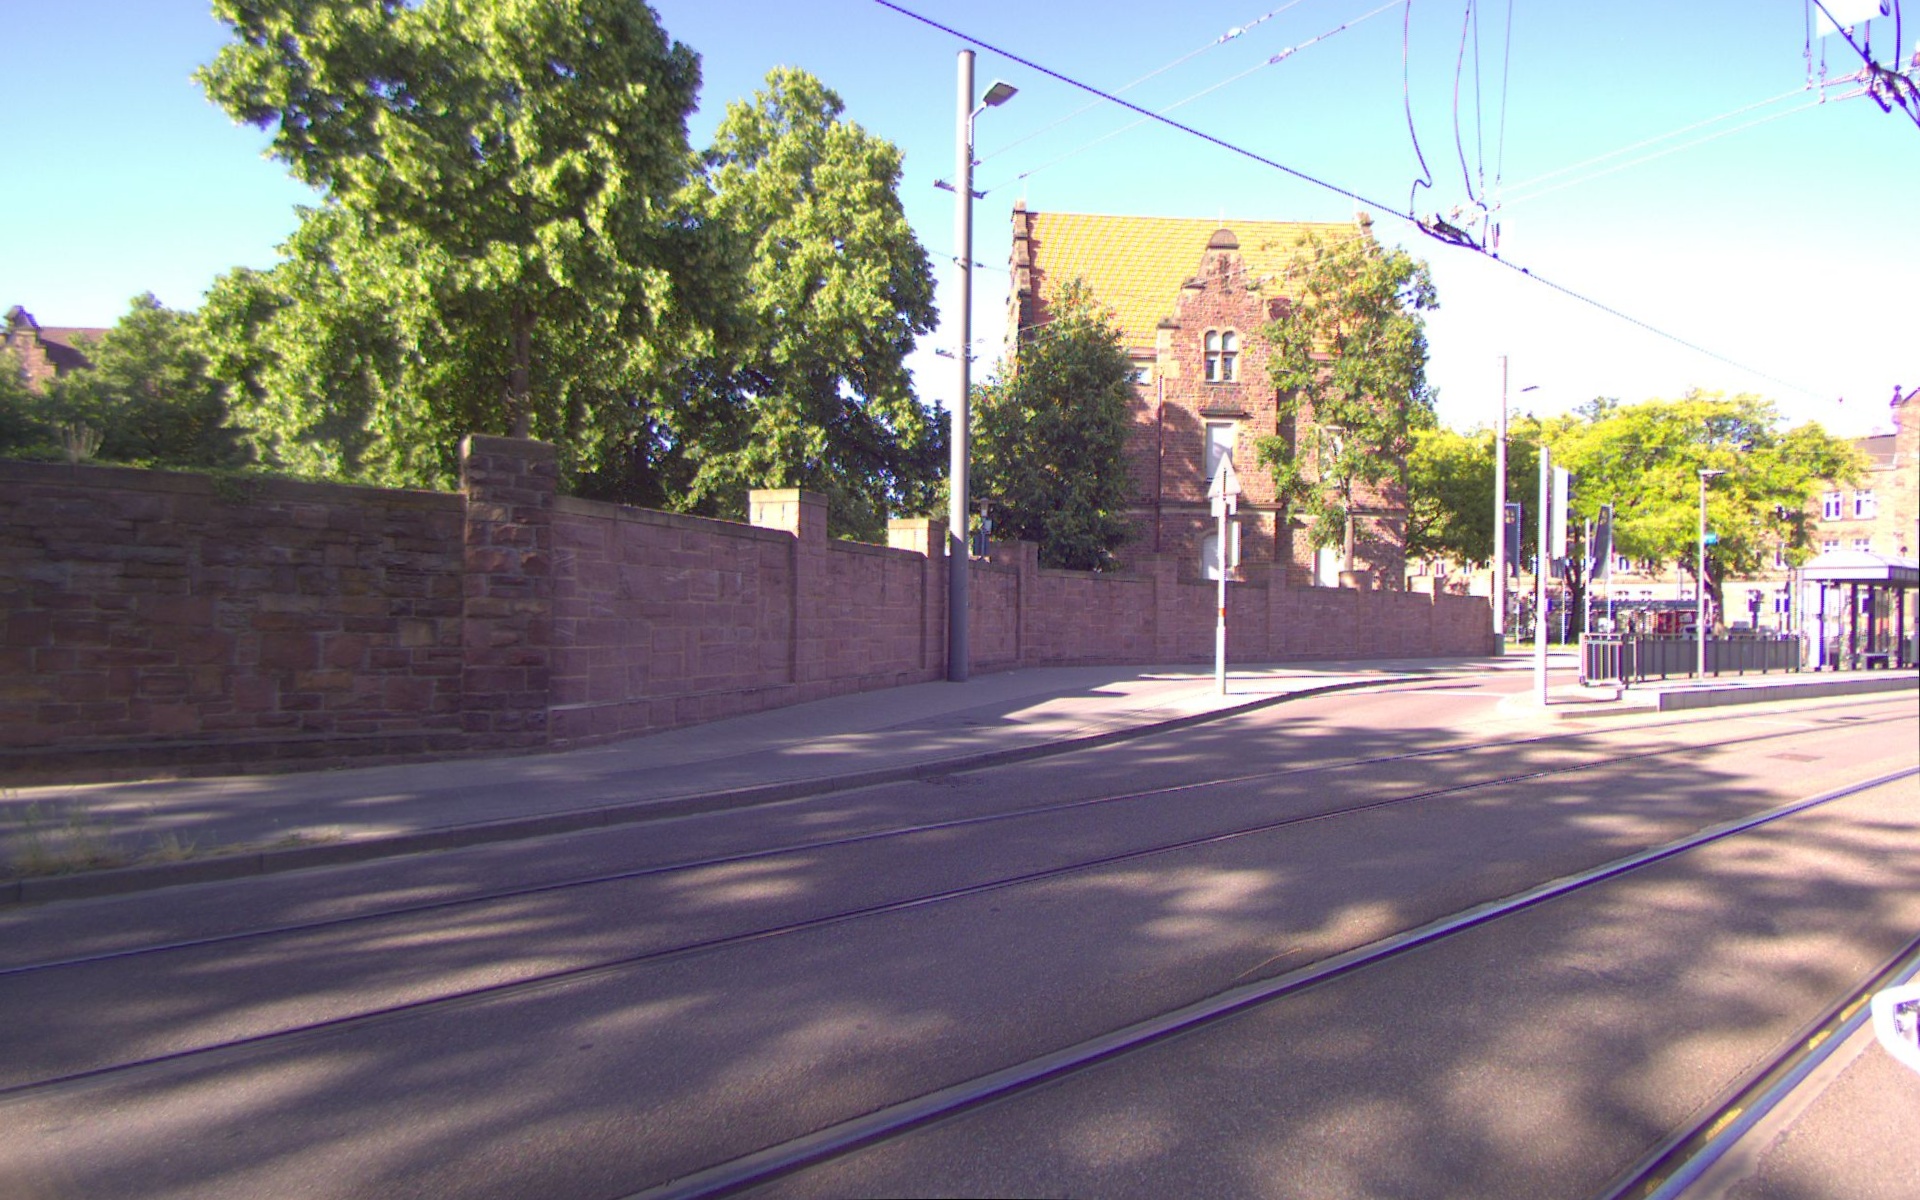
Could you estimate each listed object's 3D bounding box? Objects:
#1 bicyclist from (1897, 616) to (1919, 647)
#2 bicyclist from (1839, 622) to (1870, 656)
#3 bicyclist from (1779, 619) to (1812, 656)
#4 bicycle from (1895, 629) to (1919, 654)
[{"bbox_3d":[46.702,1.553,49.316,1.178,1.490,0.752,1,0,-34],"label":"bicyclist"},{"bbox_3d":[39.262,1.711,44.086,1.137,1.478,0.651,1,0,-26],"label":"bicyclist"},{"bbox_3d":[33.694,1.500,40.499,1.137,1.478,0.650,1,0,-28],"label":"bicyclist"},{"bbox_3d":[46.803,2.028,49.381,1.932,1.214,0.810,1,-1,-34],"label":"bicycle"}]
